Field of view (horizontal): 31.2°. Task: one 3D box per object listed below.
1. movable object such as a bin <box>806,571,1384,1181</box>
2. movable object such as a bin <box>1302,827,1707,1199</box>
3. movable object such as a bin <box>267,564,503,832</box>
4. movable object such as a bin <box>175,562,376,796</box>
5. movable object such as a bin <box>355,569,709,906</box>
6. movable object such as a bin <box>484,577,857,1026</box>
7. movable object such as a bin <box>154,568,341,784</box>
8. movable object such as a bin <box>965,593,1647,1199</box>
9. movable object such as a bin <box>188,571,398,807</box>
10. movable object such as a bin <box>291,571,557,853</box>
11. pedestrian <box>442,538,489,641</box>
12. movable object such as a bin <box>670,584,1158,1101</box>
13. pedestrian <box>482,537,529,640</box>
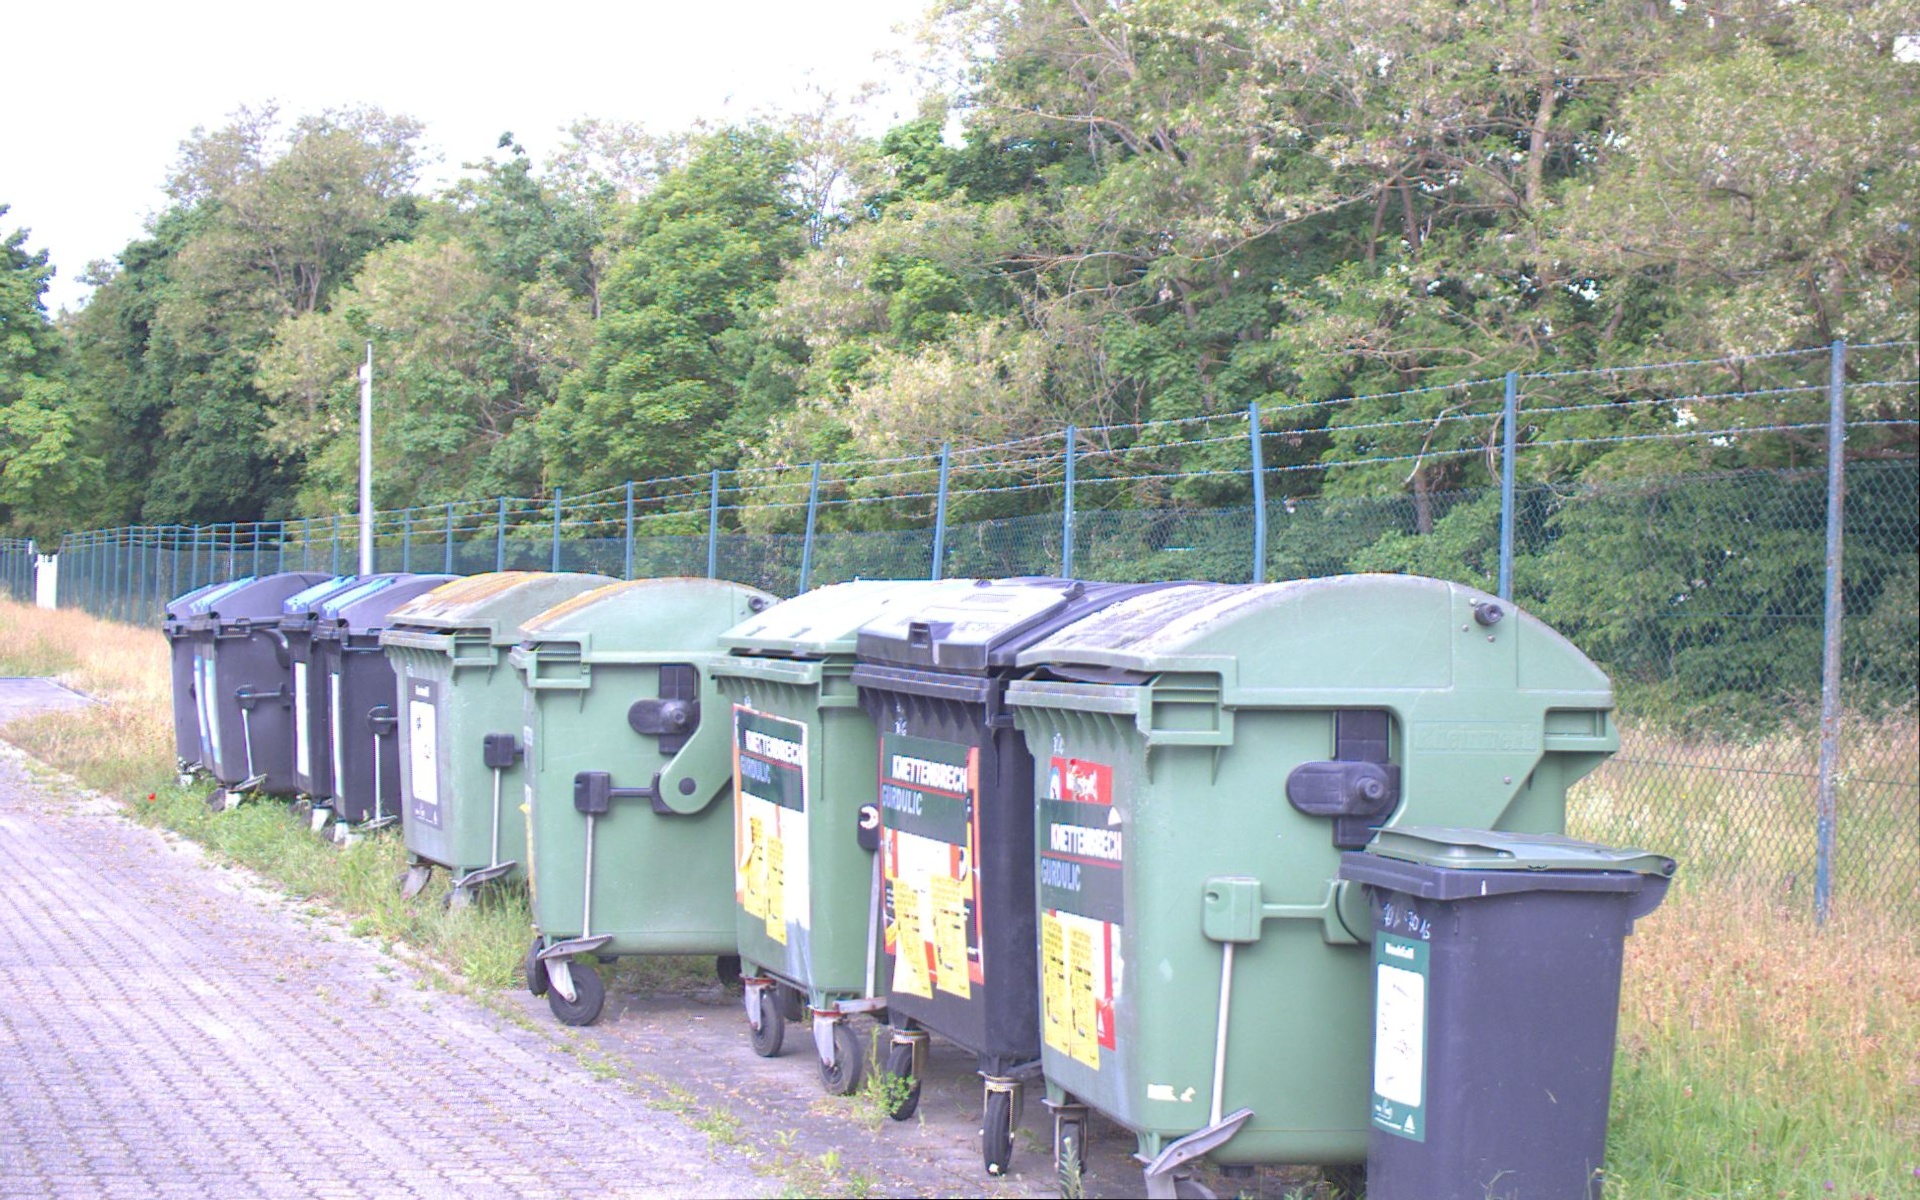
[{"bbox_3d":[0.306,0.663,8.884,1.069,1.430,1.398,2,-1,-16],"label":"movable object such as a bin"},{"bbox_3d":[1.042,0.895,6.674,0.599,0.863,0.586,2,-1,-11],"label":"movable object such as a bin"},{"bbox_3d":[-3.130,0.517,18.599,1.122,1.369,1.494,2,-1,-14],"label":"movable object such as a bin"},{"bbox_3d":[-4.234,0.481,21.188,1.122,1.374,1.325,2,-1,-14],"label":"movable object such as a bin"},{"bbox_3d":[-1.768,0.541,14.004,1.122,1.292,1.380,2,-1,-20],"label":"movable object such as a bin"},{"bbox_3d":[-1.003,0.644,11.524,1.122,1.393,1.385,2,-1,-9],"label":"movable object such as a bin"},{"bbox_3d":[-4.688,0.488,22.543,1.122,1.346,1.426,2,-1,-14],"label":"movable object such as a bin"},{"bbox_3d":[0.709,0.698,7.588,1.128,1.391,1.356,2,-1,-11],"label":"movable object such as a bin"},{"bbox_3d":[-3.884,0.498,19.931,1.122,1.317,1.325,1,0,-13],"label":"movable object such as a bin"},{"bbox_3d":[-2.686,0.539,17.079,1.154,1.320,1.494,2,-1,-14],"label":"movable object such as a bin"},{"bbox_3d":[-9.681,-0.207,67.260,0.759,2.007,0.664,1,0,-20],"label":"pedestrian"},{"bbox_3d":[-0.171,0.673,10.130,1.069,1.401,1.385,2,-1,-16],"label":"movable object such as a bin"},{"bbox_3d":[-8.921,-0.219,67.524,0.759,2.007,0.664,1,0,-20],"label":"pedestrian"}]
